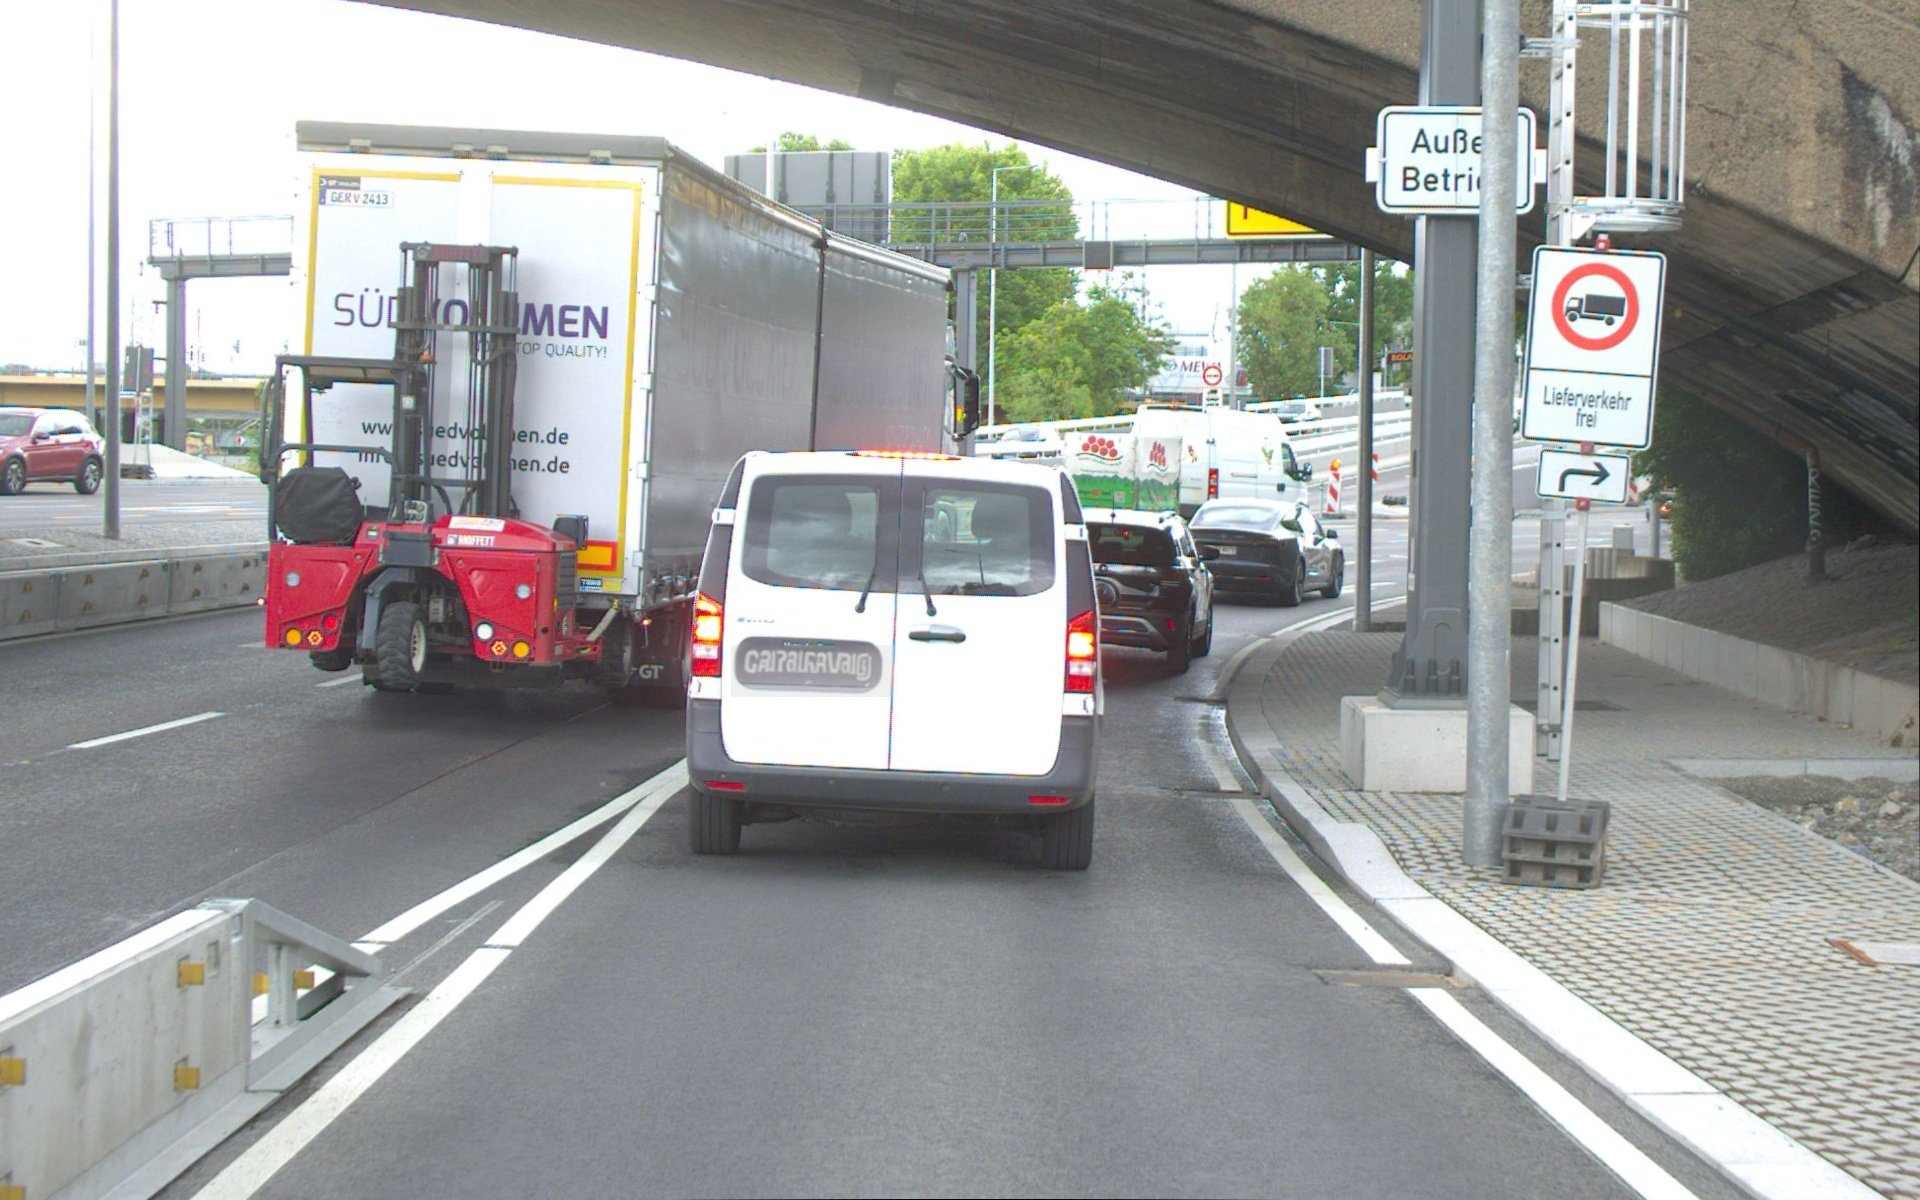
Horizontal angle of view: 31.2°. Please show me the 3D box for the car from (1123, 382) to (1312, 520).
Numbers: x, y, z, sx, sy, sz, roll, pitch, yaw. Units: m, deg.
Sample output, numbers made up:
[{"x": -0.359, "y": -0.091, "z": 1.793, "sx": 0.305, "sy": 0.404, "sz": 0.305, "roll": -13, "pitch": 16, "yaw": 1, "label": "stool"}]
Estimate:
[{"x": 5.141, "y": -2.942, "z": 67.987, "sx": 1.996, "sy": 2.532, "sz": 5.168, "roll": 4, "pitch": 4, "yaw": 24, "label": "car"}]

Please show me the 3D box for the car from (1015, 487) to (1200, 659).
[{"x": 1.587, "y": -0.332, "z": 35.866, "sx": 1.750, "sy": 1.619, "sz": 3.844, "roll": 1, "pitch": 3, "yaw": 5, "label": "car"}]

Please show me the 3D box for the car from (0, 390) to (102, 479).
[{"x": -18.211, "y": -3.212, "z": 66.206, "sx": 1.699, "sy": 1.610, "sz": 3.995, "roll": 3, "pitch": 3, "yaw": 11, "label": "car"}]

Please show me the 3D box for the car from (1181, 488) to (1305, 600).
[{"x": 4.051, "y": -0.827, "z": 48.901, "sx": 1.501, "sy": 1.464, "sz": 3.398, "roll": 2, "pitch": 2, "yaw": 8, "label": "car"}]

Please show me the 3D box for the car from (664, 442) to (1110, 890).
[{"x": -0.263, "y": 0.233, "z": 17.201, "sx": 1.876, "sy": 1.884, "sz": 4.753, "roll": 1, "pitch": 1, "yaw": 1, "label": "car"}]

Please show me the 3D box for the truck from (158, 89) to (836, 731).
[{"x": -3.154, "y": -1.477, "z": 26.935, "sx": 2.918, "sy": 4.002, "sz": 10.200, "roll": 2, "pitch": 3, "yaw": 6, "label": "truck"}]

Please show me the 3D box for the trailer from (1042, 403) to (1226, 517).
[{"x": 3.271, "y": -2.591, "z": 63.786, "sx": 1.996, "sy": 1.950, "sz": 4.074, "roll": 4, "pitch": 4, "yaw": 24, "label": "trailer"}]

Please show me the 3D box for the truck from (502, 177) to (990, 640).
[{"x": -1.936, "y": -2.039, "z": 37.078, "sx": 2.988, "sy": 4.161, "sz": 11.239, "roll": 2, "pitch": 3, "yaw": 8, "label": "truck"}]

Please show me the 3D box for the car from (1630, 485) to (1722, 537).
[{"x": 19.884, "y": -2.484, "z": 95.353, "sx": 1.375, "sy": 1.371, "sz": 3.456, "roll": 2, "pitch": 3, "yaw": 32, "label": "car"}]
